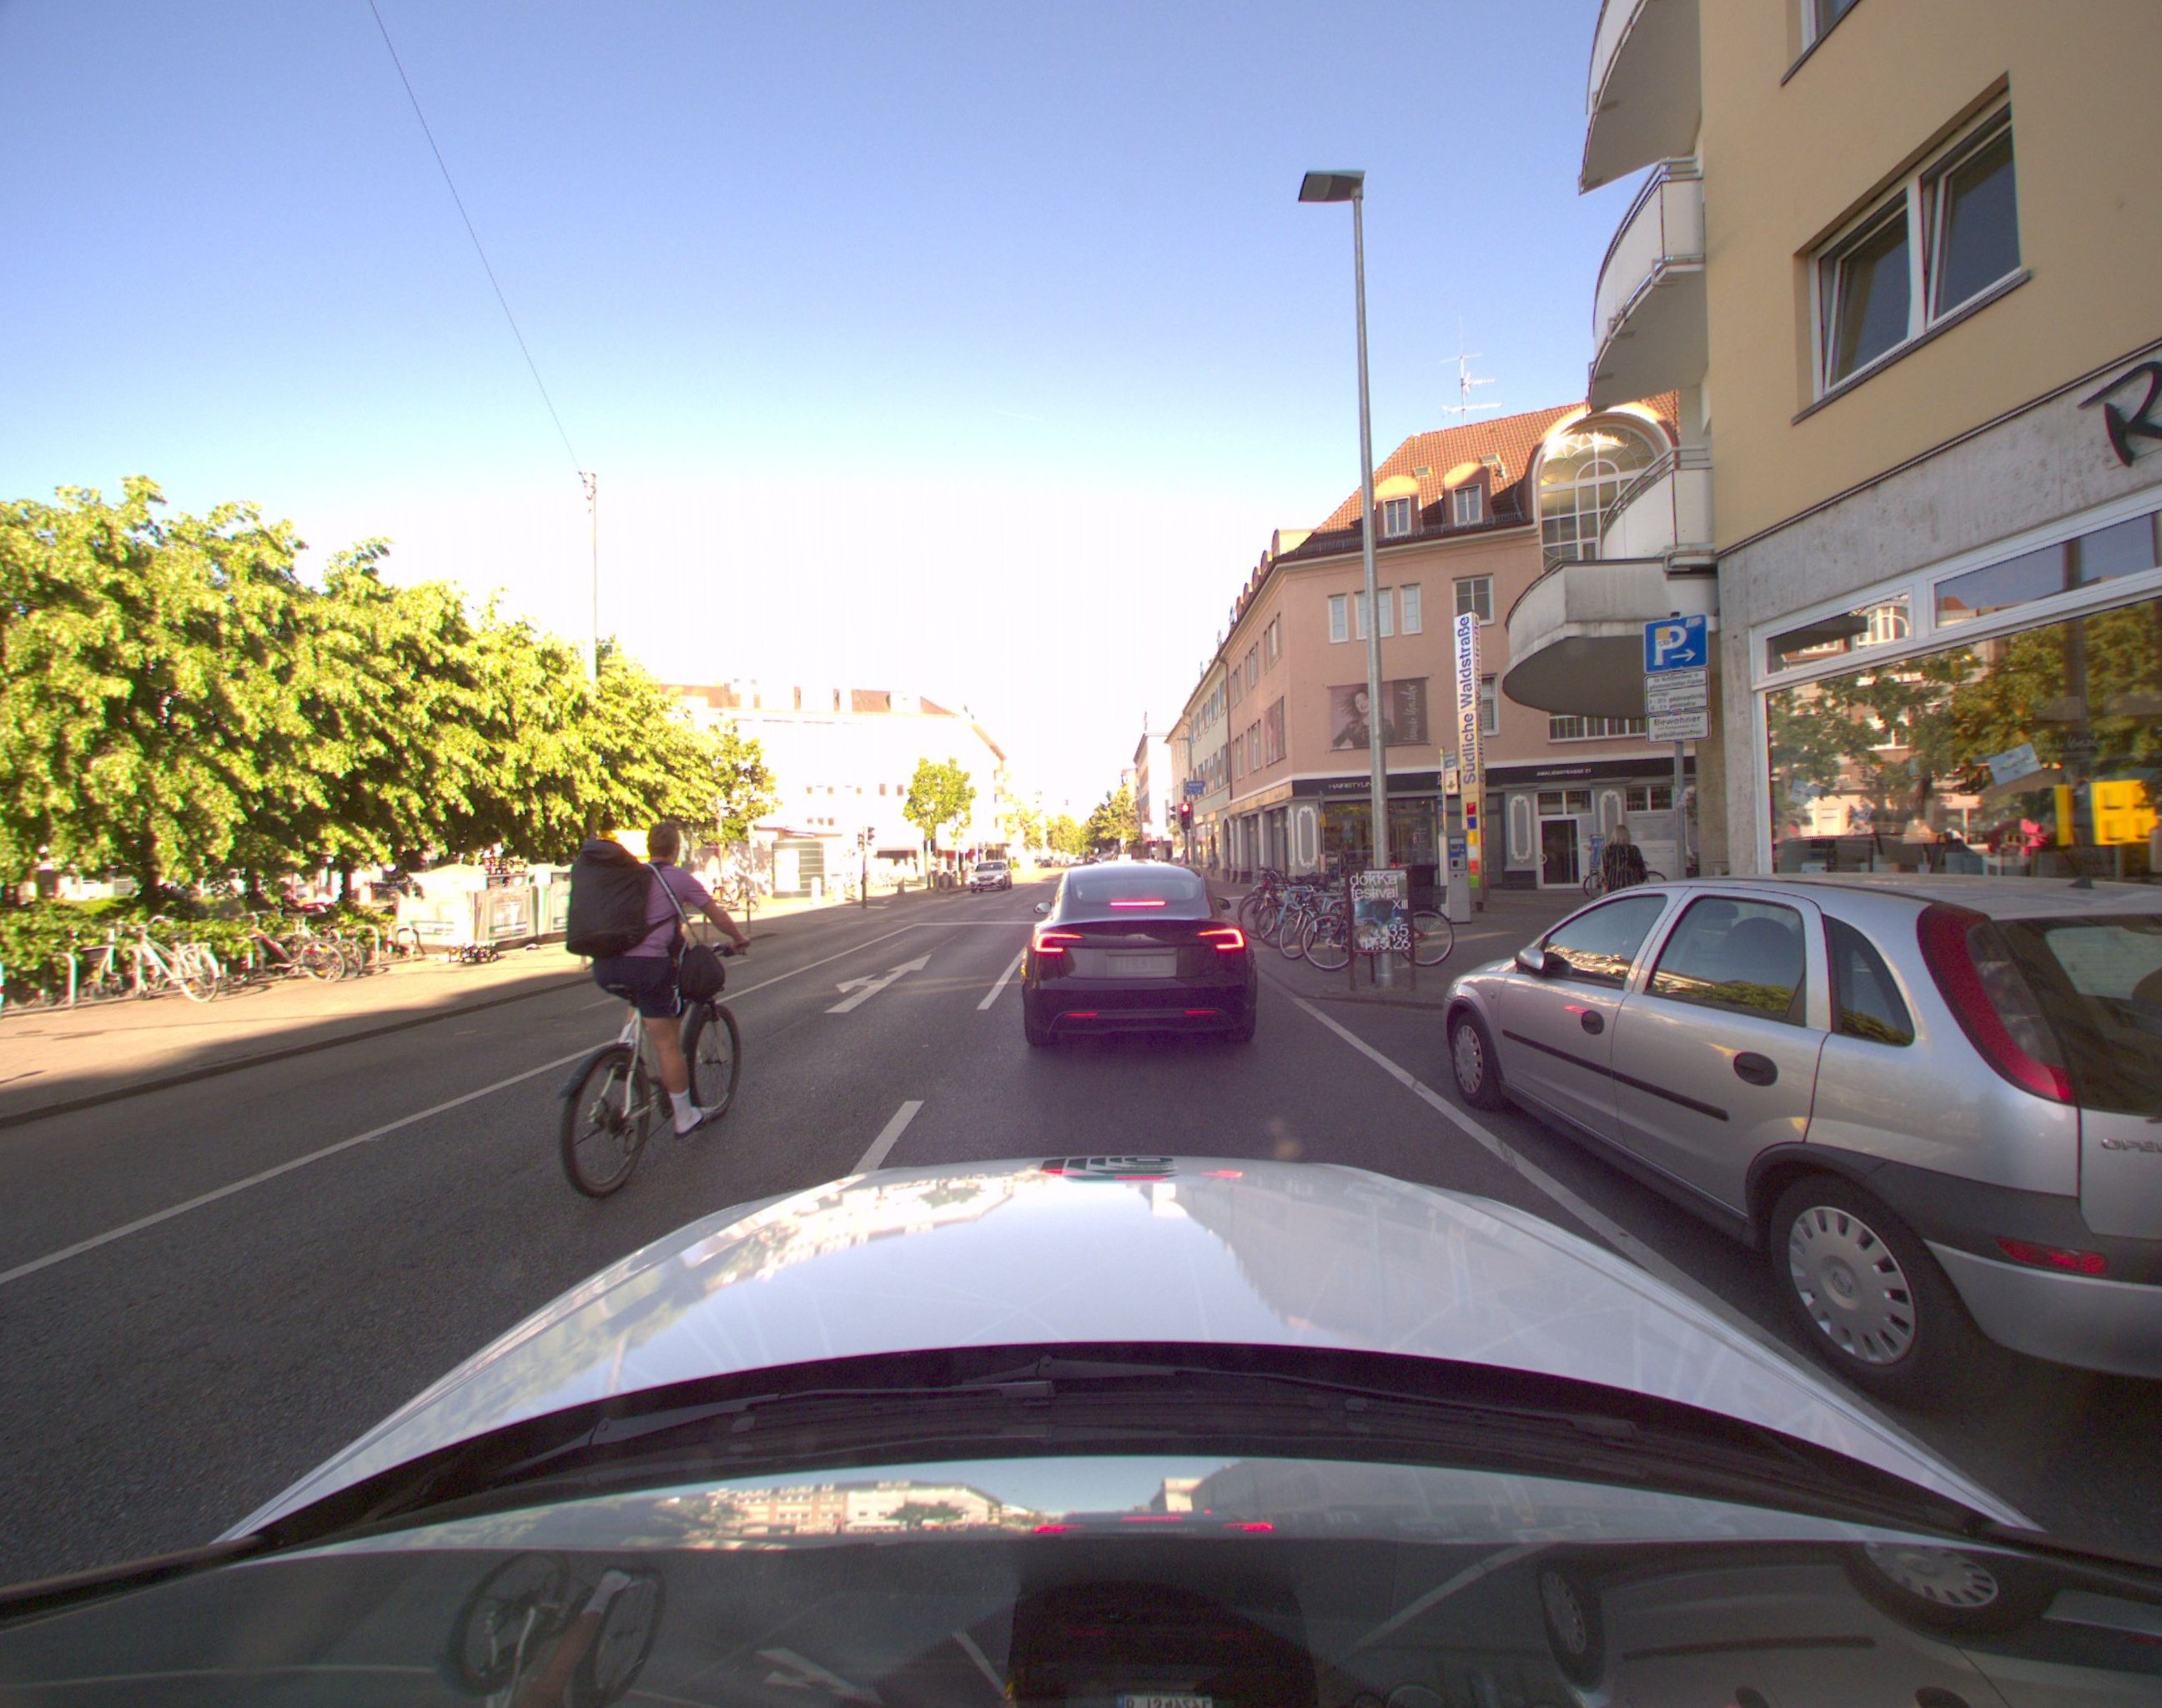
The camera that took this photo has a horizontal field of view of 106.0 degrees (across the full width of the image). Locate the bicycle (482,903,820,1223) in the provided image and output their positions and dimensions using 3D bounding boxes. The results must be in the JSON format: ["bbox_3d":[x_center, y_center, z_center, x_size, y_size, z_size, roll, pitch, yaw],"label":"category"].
[{"bbox_3d":[-2.109,0.940,4.336,0.793,1.233,1.774,-1,0,2],"label":"bicycle"}]

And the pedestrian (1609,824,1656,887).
[{"bbox_3d":[12.932,0.036,19.108,0.737,1.440,0.585,-1,-1,15],"label":"pedestrian"}]

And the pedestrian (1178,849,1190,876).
[{"bbox_3d":[6.802,0.567,53.770,0.701,1.783,0.534,-1,0,1],"label":"pedestrian"}]

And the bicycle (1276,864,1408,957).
[{"bbox_3d":[3.567,0.759,11.195,1.622,1.160,0.433,-3,0,0],"label":"bicycle"}]

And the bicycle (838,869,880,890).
[{"bbox_3d":[-12.433,1.444,45.641,2.075,1.104,0.806,-1,0,1],"label":"bicycle"}]

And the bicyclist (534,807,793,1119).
[{"bbox_3d":[-2.117,0.507,4.283,0.793,1.435,1.008,-1,0,1],"label":"bicyclist"}]

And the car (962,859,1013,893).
[{"bbox_3d":[-4.849,1.103,42.818,1.986,1.541,4.002,-5,0,2],"label":"car"}]

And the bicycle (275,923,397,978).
[{"bbox_3d":[-11.254,1.460,12.321,1.466,0.769,0.475,-1,-1,4],"label":"bicycle"}]

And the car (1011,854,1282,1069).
[{"bbox_3d":[0.539,0.752,7.530,1.842,1.455,3.788,-1,0,3],"label":"car"}]

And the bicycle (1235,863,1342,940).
[{"bbox_3d":[3.442,0.781,13.596,1.622,1.160,0.433,-3,0,0],"label":"bicycle"}]

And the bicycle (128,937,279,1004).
[{"bbox_3d":[-11.087,1.459,10.299,1.645,0.769,0.476,-1,-1,10],"label":"bicycle"}]

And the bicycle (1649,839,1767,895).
[{"bbox_3d":[15.108,0.311,19.682,2.108,1.200,0.631,-4,-1,17],"label":"bicycle"}]

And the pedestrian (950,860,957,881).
[{"bbox_3d":[-9.843,1.257,62.876,0.385,1.591,0.705,-1,0,-3],"label":"pedestrian"}]

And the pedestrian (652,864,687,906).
[{"bbox_3d":[-16.631,1.252,32.932,0.981,1.636,0.738,-1,0,5],"label":"pedestrian"}]

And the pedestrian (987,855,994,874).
[{"bbox_3d":[-9.715,1.156,87.270,0.623,2.014,0.707,-1,0,1],"label":"pedestrian"}]

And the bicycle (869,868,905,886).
[{"bbox_3d":[-12.522,1.456,52.617,2.075,1.104,0.806,-1,0,1],"label":"bicycle"}]

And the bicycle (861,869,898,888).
[{"bbox_3d":[-12.479,1.485,50.420,2.075,1.104,0.806,-1,0,1],"label":"bicycle"}]

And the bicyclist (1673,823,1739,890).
[{"bbox_3d":[15.099,0.060,19.691,1.088,1.589,0.631,-1,0,18],"label":"bicyclist"}]

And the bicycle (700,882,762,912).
[{"bbox_3d":[-11.665,1.440,27.152,1.850,0.946,0.631,0,0,12],"label":"bicycle"}]

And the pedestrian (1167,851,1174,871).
[{"bbox_3d":[7.696,0.579,70.199,0.568,1.691,0.387,-1,0,1],"label":"pedestrian"}]

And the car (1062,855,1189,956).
[{"bbox_3d":[0.744,0.761,13.929,1.842,1.455,3.788,-1,0,3],"label":"car"}]

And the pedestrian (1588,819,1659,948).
[{"bbox_3d":[7.167,0.386,10.780,0.655,1.633,0.632,-4,-1,33],"label":"pedestrian"}]

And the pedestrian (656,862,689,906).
[{"bbox_3d":[-16.481,1.215,32.873,0.897,1.725,0.745,-1,0,5],"label":"pedestrian"}]

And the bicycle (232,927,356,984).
[{"bbox_3d":[-11.358,1.458,11.766,1.465,0.769,0.442,-1,-1,6],"label":"bicycle"}]

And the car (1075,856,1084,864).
[{"bbox_3d":[-0.358,1.235,175.656,1.824,1.724,4.000,-1,0,0],"label":"car"}]

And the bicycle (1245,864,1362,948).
[{"bbox_3d":[3.379,0.779,12.429,1.622,1.160,0.433,-3,0,0],"label":"bicycle"}]

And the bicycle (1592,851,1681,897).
[{"bbox_3d":[12.984,0.473,19.079,1.604,1.045,0.593,-1,-1,14],"label":"bicycle"}]

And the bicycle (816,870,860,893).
[{"bbox_3d":[-12.850,1.454,43.129,2.075,1.104,0.806,-1,0,1],"label":"bicycle"}]

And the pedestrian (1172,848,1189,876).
[{"bbox_3d":[6.567,0.544,53.833,0.995,1.850,0.615,-1,0,1],"label":"pedestrian"}]

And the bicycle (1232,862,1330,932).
[{"bbox_3d":[3.618,0.770,14.795,1.621,1.160,0.433,-3,0,2],"label":"bicycle"}]

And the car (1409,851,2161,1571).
[{"bbox_3d":[2.949,0.705,3.534,1.615,1.394,3.888,-1,0,3],"label":"car"}]

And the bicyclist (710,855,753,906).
[{"bbox_3d":[-11.640,0.877,27.154,1.112,1.654,0.631,-1,0,12],"label":"bicyclist"}]
